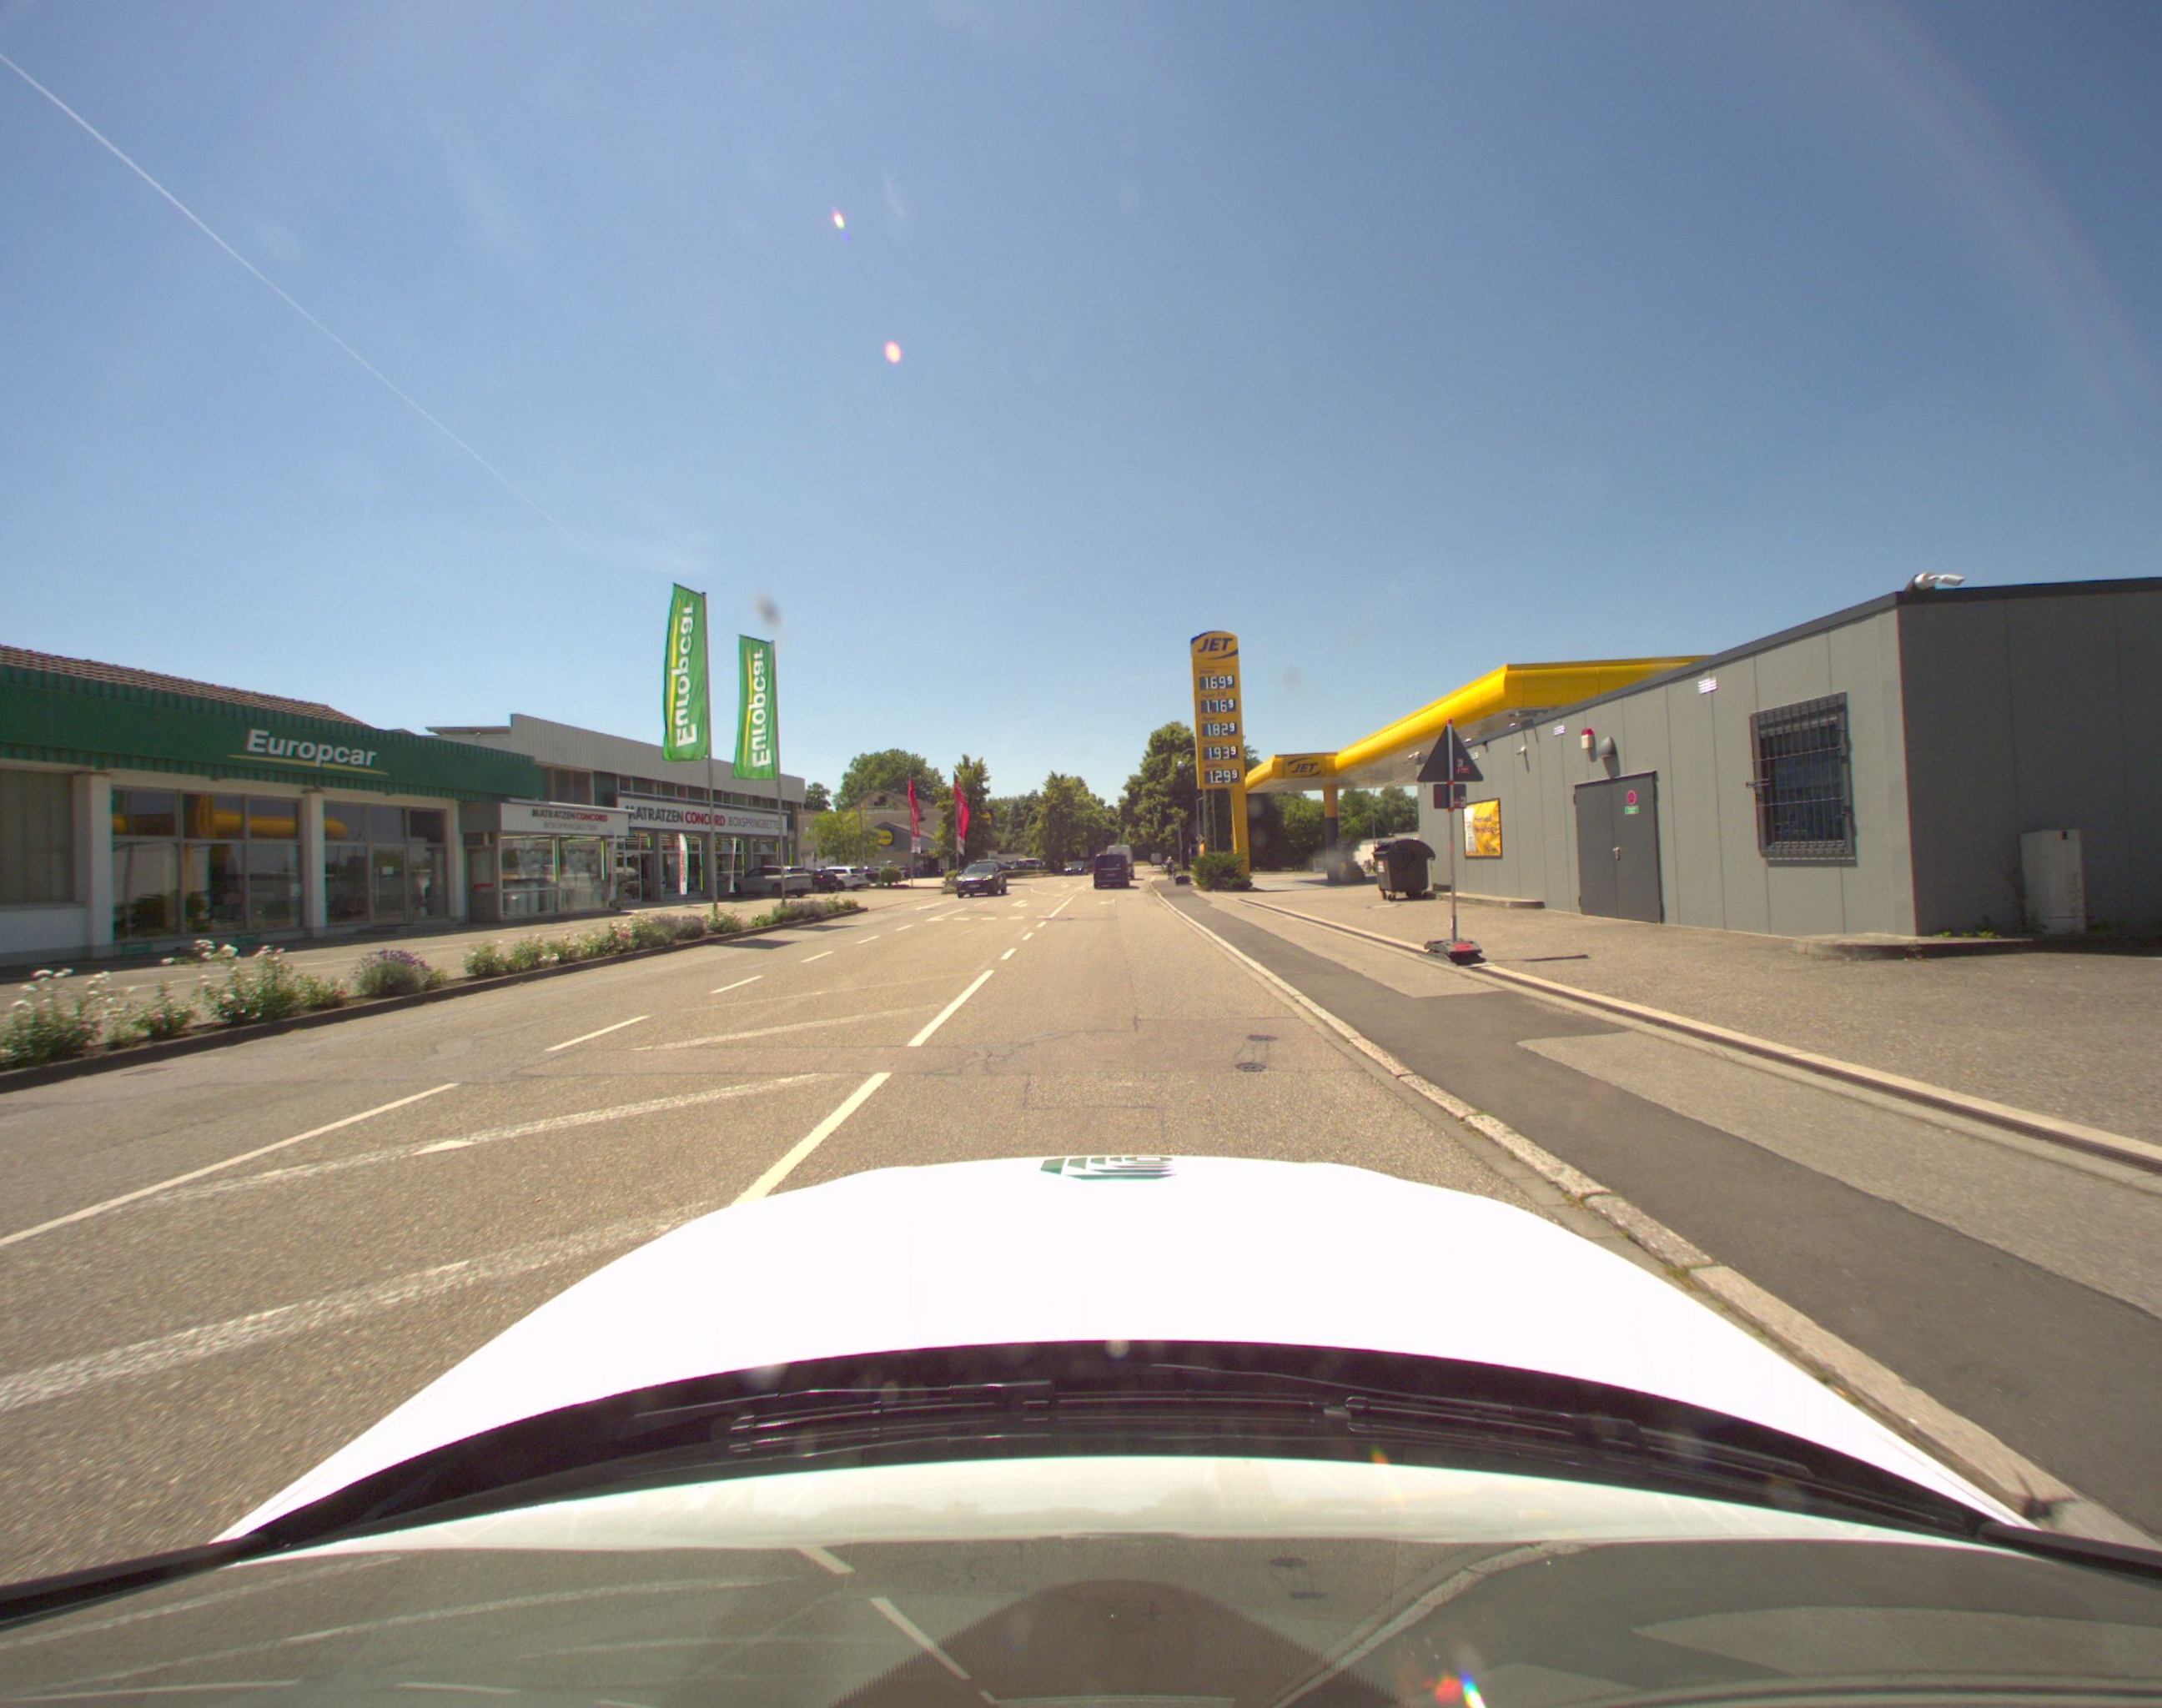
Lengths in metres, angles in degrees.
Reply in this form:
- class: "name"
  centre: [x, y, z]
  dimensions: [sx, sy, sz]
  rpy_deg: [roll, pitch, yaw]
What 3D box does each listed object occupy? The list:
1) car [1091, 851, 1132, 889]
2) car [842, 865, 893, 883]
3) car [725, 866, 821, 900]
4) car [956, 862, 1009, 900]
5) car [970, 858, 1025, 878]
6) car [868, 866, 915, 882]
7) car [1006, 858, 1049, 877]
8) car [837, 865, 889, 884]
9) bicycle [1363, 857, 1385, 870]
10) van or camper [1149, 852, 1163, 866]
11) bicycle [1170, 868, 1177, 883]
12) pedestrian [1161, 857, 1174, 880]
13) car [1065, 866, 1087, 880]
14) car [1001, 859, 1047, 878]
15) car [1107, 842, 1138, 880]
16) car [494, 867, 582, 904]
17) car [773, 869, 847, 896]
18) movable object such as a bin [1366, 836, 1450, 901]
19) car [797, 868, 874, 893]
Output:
- class: "car"
  centre: [1.719, 0.870, 44.575]
  dimensions: [1.984, 1.953, 5.012]
  rpy_deg: [0, -1, 5]
- class: "car"
  centre: [-20.704, 1.954, 79.122]
  dimensions: [4.296, 1.655, 2.115]
  rpy_deg: [-1, -1, 1]
- class: "car"
  centre: [-16.312, 1.543, 43.165]
  dimensions: [4.492, 1.664, 2.010]
  rpy_deg: [-2, 0, 20]
- class: "car"
  centre: [-4.533, 1.211, 38.064]
  dimensions: [1.755, 1.527, 4.140]
  rpy_deg: [-3, 0, 2]
- class: "car"
  centre: [-7.875, 1.295, 76.943]
  dimensions: [4.679, 1.762, 2.104]
  rpy_deg: [-1, -1, 9]
- class: "car"
  centre: [-19.372, 2.027, 83.426]
  dimensions: [4.296, 1.530, 1.828]
  rpy_deg: [-1, -1, 1]
- class: "car"
  centre: [-5.746, 1.443, 87.057]
  dimensions: [4.338, 1.980, 1.906]
  rpy_deg: [-1, -1, 3]
- class: "car"
  centre: [-19.659, 1.837, 73.629]
  dimensions: [4.226, 1.589, 1.767]
  rpy_deg: [-1, -1, -3]
- class: "bicycle"
  centre: [25.015, 0.815, 69.442]
  dimensions: [1.684, 1.098, 0.469]
  rpy_deg: [-2, -1, 7]
- class: "van or camper"
  centre: [15.479, 1.079, 168.870]
  dimensions: [2.621, 2.929, 5.209]
  rpy_deg: [-1, -1, 2]
- class: "bicycle"
  centre: [5.897, 1.341, 51.919]
  dimensions: [0.375, 0.912, 1.602]
  rpy_deg: [-2, -1, 9]
- class: "pedestrian"
  centre: [5.561, 0.937, 52.292]
  dimensions: [0.764, 1.421, 0.870]
  rpy_deg: [-2, -1, 9]
- class: "car"
  centre: [-0.509, 1.927, 82.328]
  dimensions: [1.924, 1.400, 4.692]
  rpy_deg: [-1, -1, 3]
- class: "car"
  centre: [-5.905, 1.464, 84.341]
  dimensions: [4.356, 1.845, 2.110]
  rpy_deg: [-1, -1, 11]
- class: "car"
  centre: [3.148, 0.532, 61.253]
  dimensions: [2.068, 2.702, 4.673]
  rpy_deg: [0, -1, 6]
- class: "car"
  centre: [-40.381, 2.299, 60.794]
  dimensions: [2.270, 2.627, 5.907]
  rpy_deg: [-1, -1, 4]
- class: "car"
  centre: [-16.000, 1.686, 48.148]
  dimensions: [3.595, 1.475, 2.010]
  rpy_deg: [-2, 0, 20]
- class: "movable object such as a bin"
  centre: [7.956, 0.337, 19.919]
  dimensions: [1.429, 1.438, 1.468]
  rpy_deg: [-4, -1, 2]
- class: "car"
  centre: [-15.336, 1.644, 50.929]
  dimensions: [4.150, 1.446, 1.989]
  rpy_deg: [-2, 0, 17]
